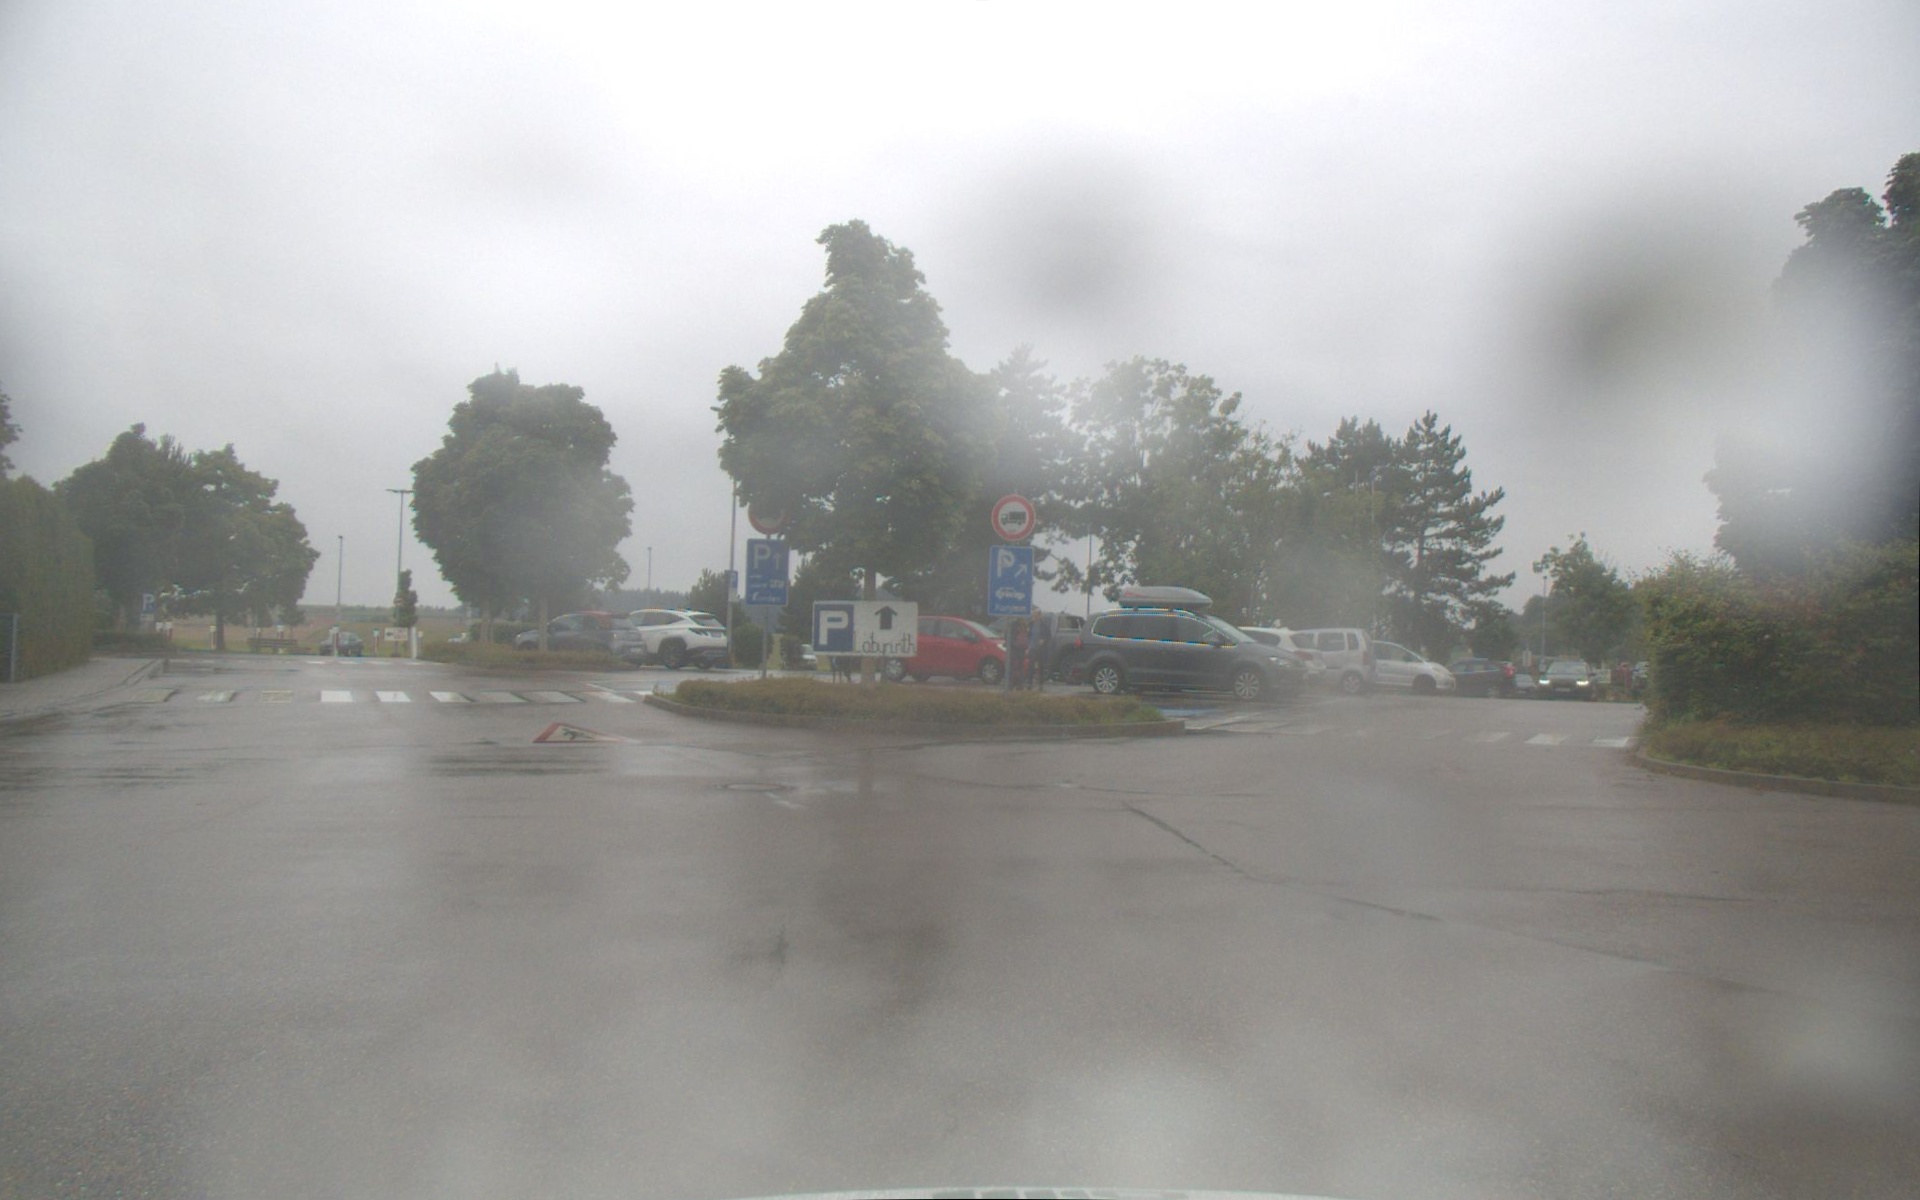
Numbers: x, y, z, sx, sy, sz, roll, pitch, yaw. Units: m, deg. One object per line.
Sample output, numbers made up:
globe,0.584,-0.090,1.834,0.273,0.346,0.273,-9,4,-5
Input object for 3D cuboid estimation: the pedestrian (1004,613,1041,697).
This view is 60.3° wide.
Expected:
pedestrian,1.262,1.111,33.263,0.699,1.667,0.646,1,-3,2

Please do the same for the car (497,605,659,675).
car,-10.246,1.073,44.334,3.932,1.746,1.719,1,-3,24

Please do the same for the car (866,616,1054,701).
car,0.007,1.320,38.334,3.929,1.824,1.850,1,-1,24

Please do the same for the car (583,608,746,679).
car,-8.388,1.233,46.884,4.266,1.895,1.719,1,-3,24

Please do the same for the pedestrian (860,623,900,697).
pedestrian,-1.549,1.167,32.102,0.632,1.386,0.450,3,-3,-17

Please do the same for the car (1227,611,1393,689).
car,9.101,1.305,42.980,3.929,1.895,1.850,1,-3,24

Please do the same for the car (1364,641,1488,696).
car,17.584,2.567,62.428,4.267,1.895,1.850,1,-1,24

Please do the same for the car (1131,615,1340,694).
car,5.901,1.130,35.455,4.101,1.543,1.742,1,0,25

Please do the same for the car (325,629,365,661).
car,-41.589,3.064,111.948,1.672,2.049,3.990,3,-3,-9

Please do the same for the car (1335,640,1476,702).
car,14.764,2.352,54.770,4.266,1.895,1.850,1,-3,24

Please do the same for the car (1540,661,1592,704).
car,21.908,2.994,59.700,1.611,1.394,3.999,1,-3,22

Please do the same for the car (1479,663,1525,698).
car,23.571,3.507,71.853,1.611,1.394,3.812,1,-3,22

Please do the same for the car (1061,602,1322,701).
car,4.634,0.993,33.123,4.835,1.824,1.999,1,-1,24

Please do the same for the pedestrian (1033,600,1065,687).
pedestrian,1.844,0.912,34.224,0.596,1.755,0.684,2,-3,4
